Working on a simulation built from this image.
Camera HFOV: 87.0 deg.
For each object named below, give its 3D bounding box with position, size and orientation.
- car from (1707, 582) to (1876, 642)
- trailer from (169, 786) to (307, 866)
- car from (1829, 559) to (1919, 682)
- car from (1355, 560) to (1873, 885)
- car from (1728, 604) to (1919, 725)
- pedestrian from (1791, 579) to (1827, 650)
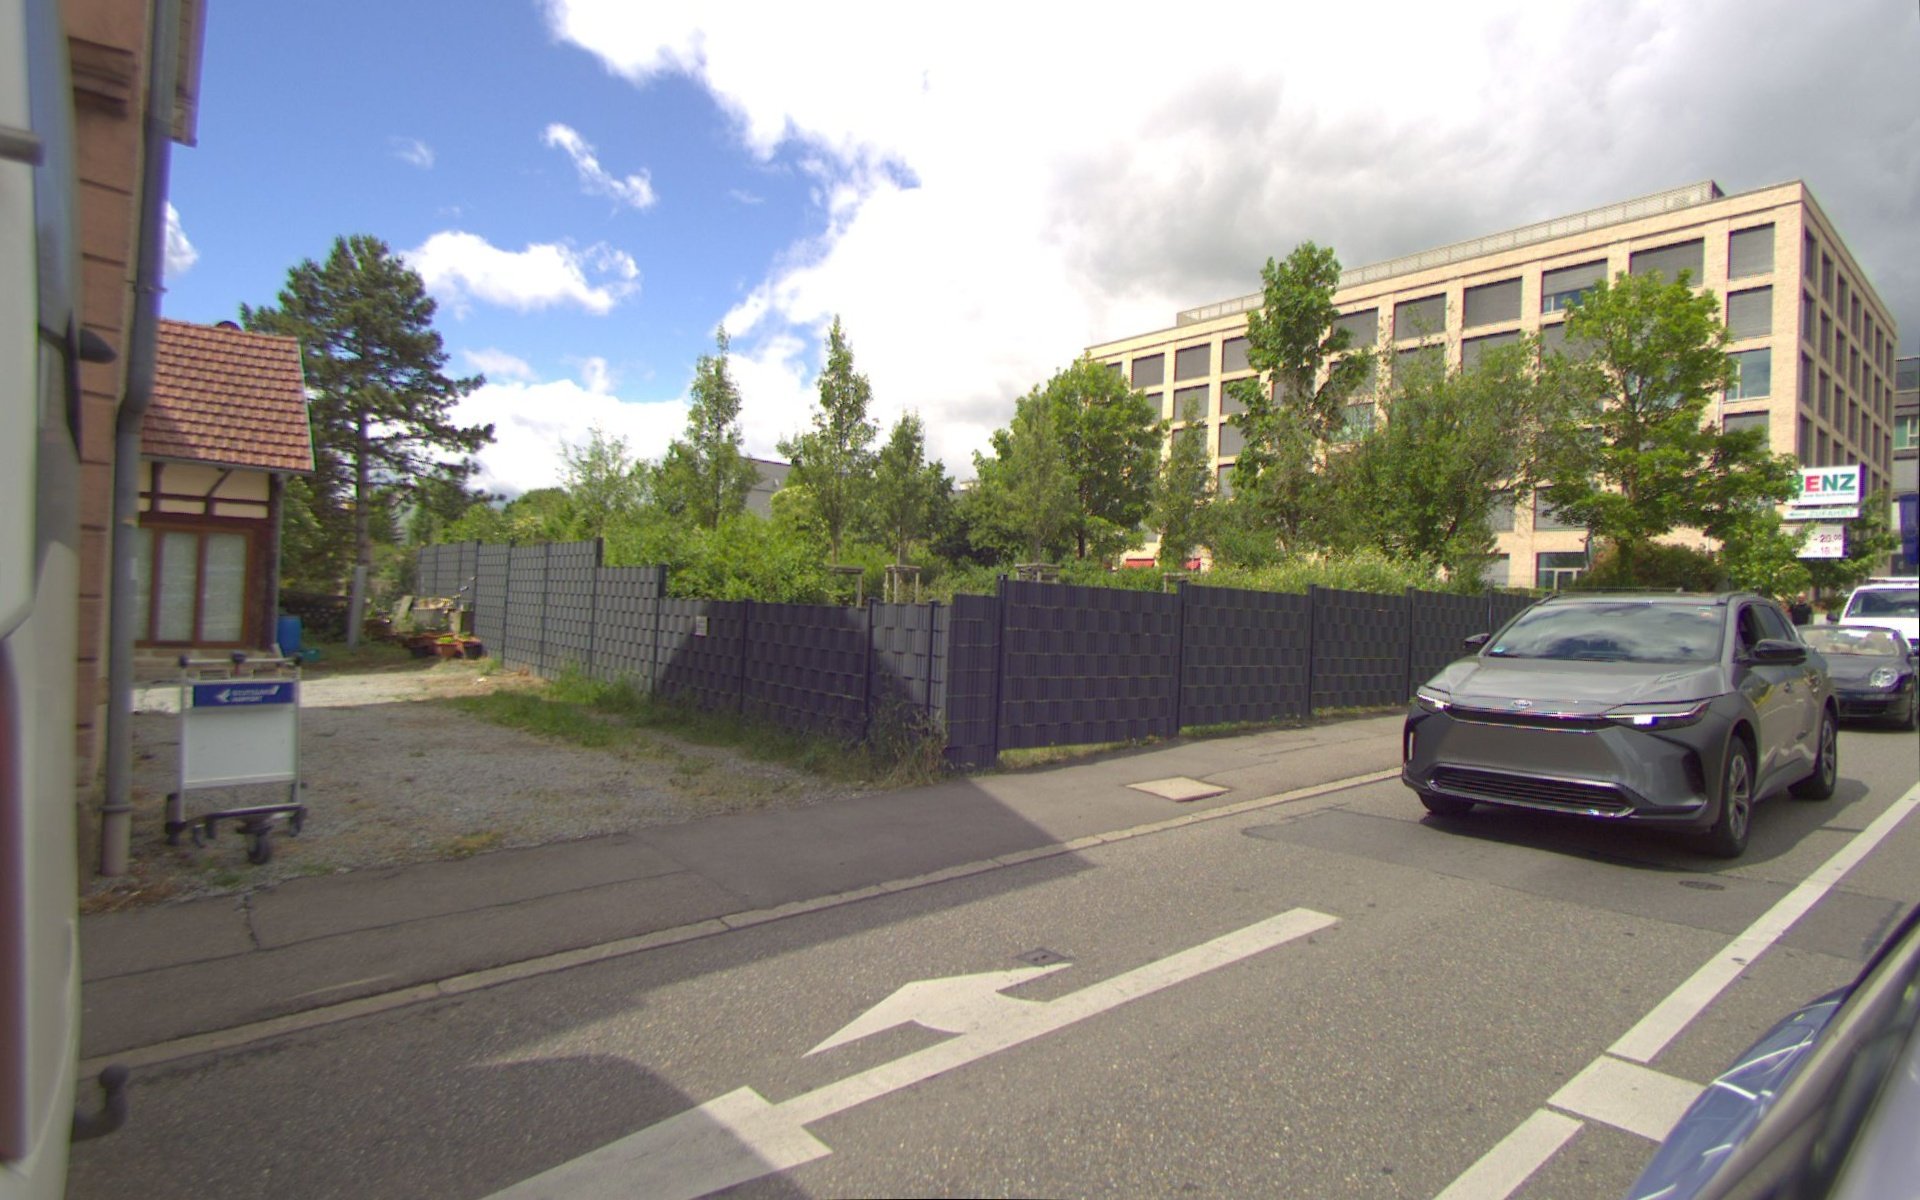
[{"bbox_3d":[26.650,0.322,32.524,1.793,1.754,3.992,0,2,-43],"label":"car"},{"bbox_3d":[-3.723,1.163,5.241,0.466,0.324,0.359,0,1,-5],"label":"trailer"},{"bbox_3d":[17.823,0.330,18.617,4.676,2.075,2.087,0,0,-40],"label":"car"},{"bbox_3d":[4.952,0.590,7.382,4.500,1.649,1.997,0,1,-41],"label":"car"},{"bbox_3d":[11.790,0.738,13.358,3.967,1.310,1.823,0,0,-40],"label":"car"},{"bbox_3d":[21.325,0.346,25.426,0.544,1.741,0.602,0,1,-40],"label":"pedestrian"}]
